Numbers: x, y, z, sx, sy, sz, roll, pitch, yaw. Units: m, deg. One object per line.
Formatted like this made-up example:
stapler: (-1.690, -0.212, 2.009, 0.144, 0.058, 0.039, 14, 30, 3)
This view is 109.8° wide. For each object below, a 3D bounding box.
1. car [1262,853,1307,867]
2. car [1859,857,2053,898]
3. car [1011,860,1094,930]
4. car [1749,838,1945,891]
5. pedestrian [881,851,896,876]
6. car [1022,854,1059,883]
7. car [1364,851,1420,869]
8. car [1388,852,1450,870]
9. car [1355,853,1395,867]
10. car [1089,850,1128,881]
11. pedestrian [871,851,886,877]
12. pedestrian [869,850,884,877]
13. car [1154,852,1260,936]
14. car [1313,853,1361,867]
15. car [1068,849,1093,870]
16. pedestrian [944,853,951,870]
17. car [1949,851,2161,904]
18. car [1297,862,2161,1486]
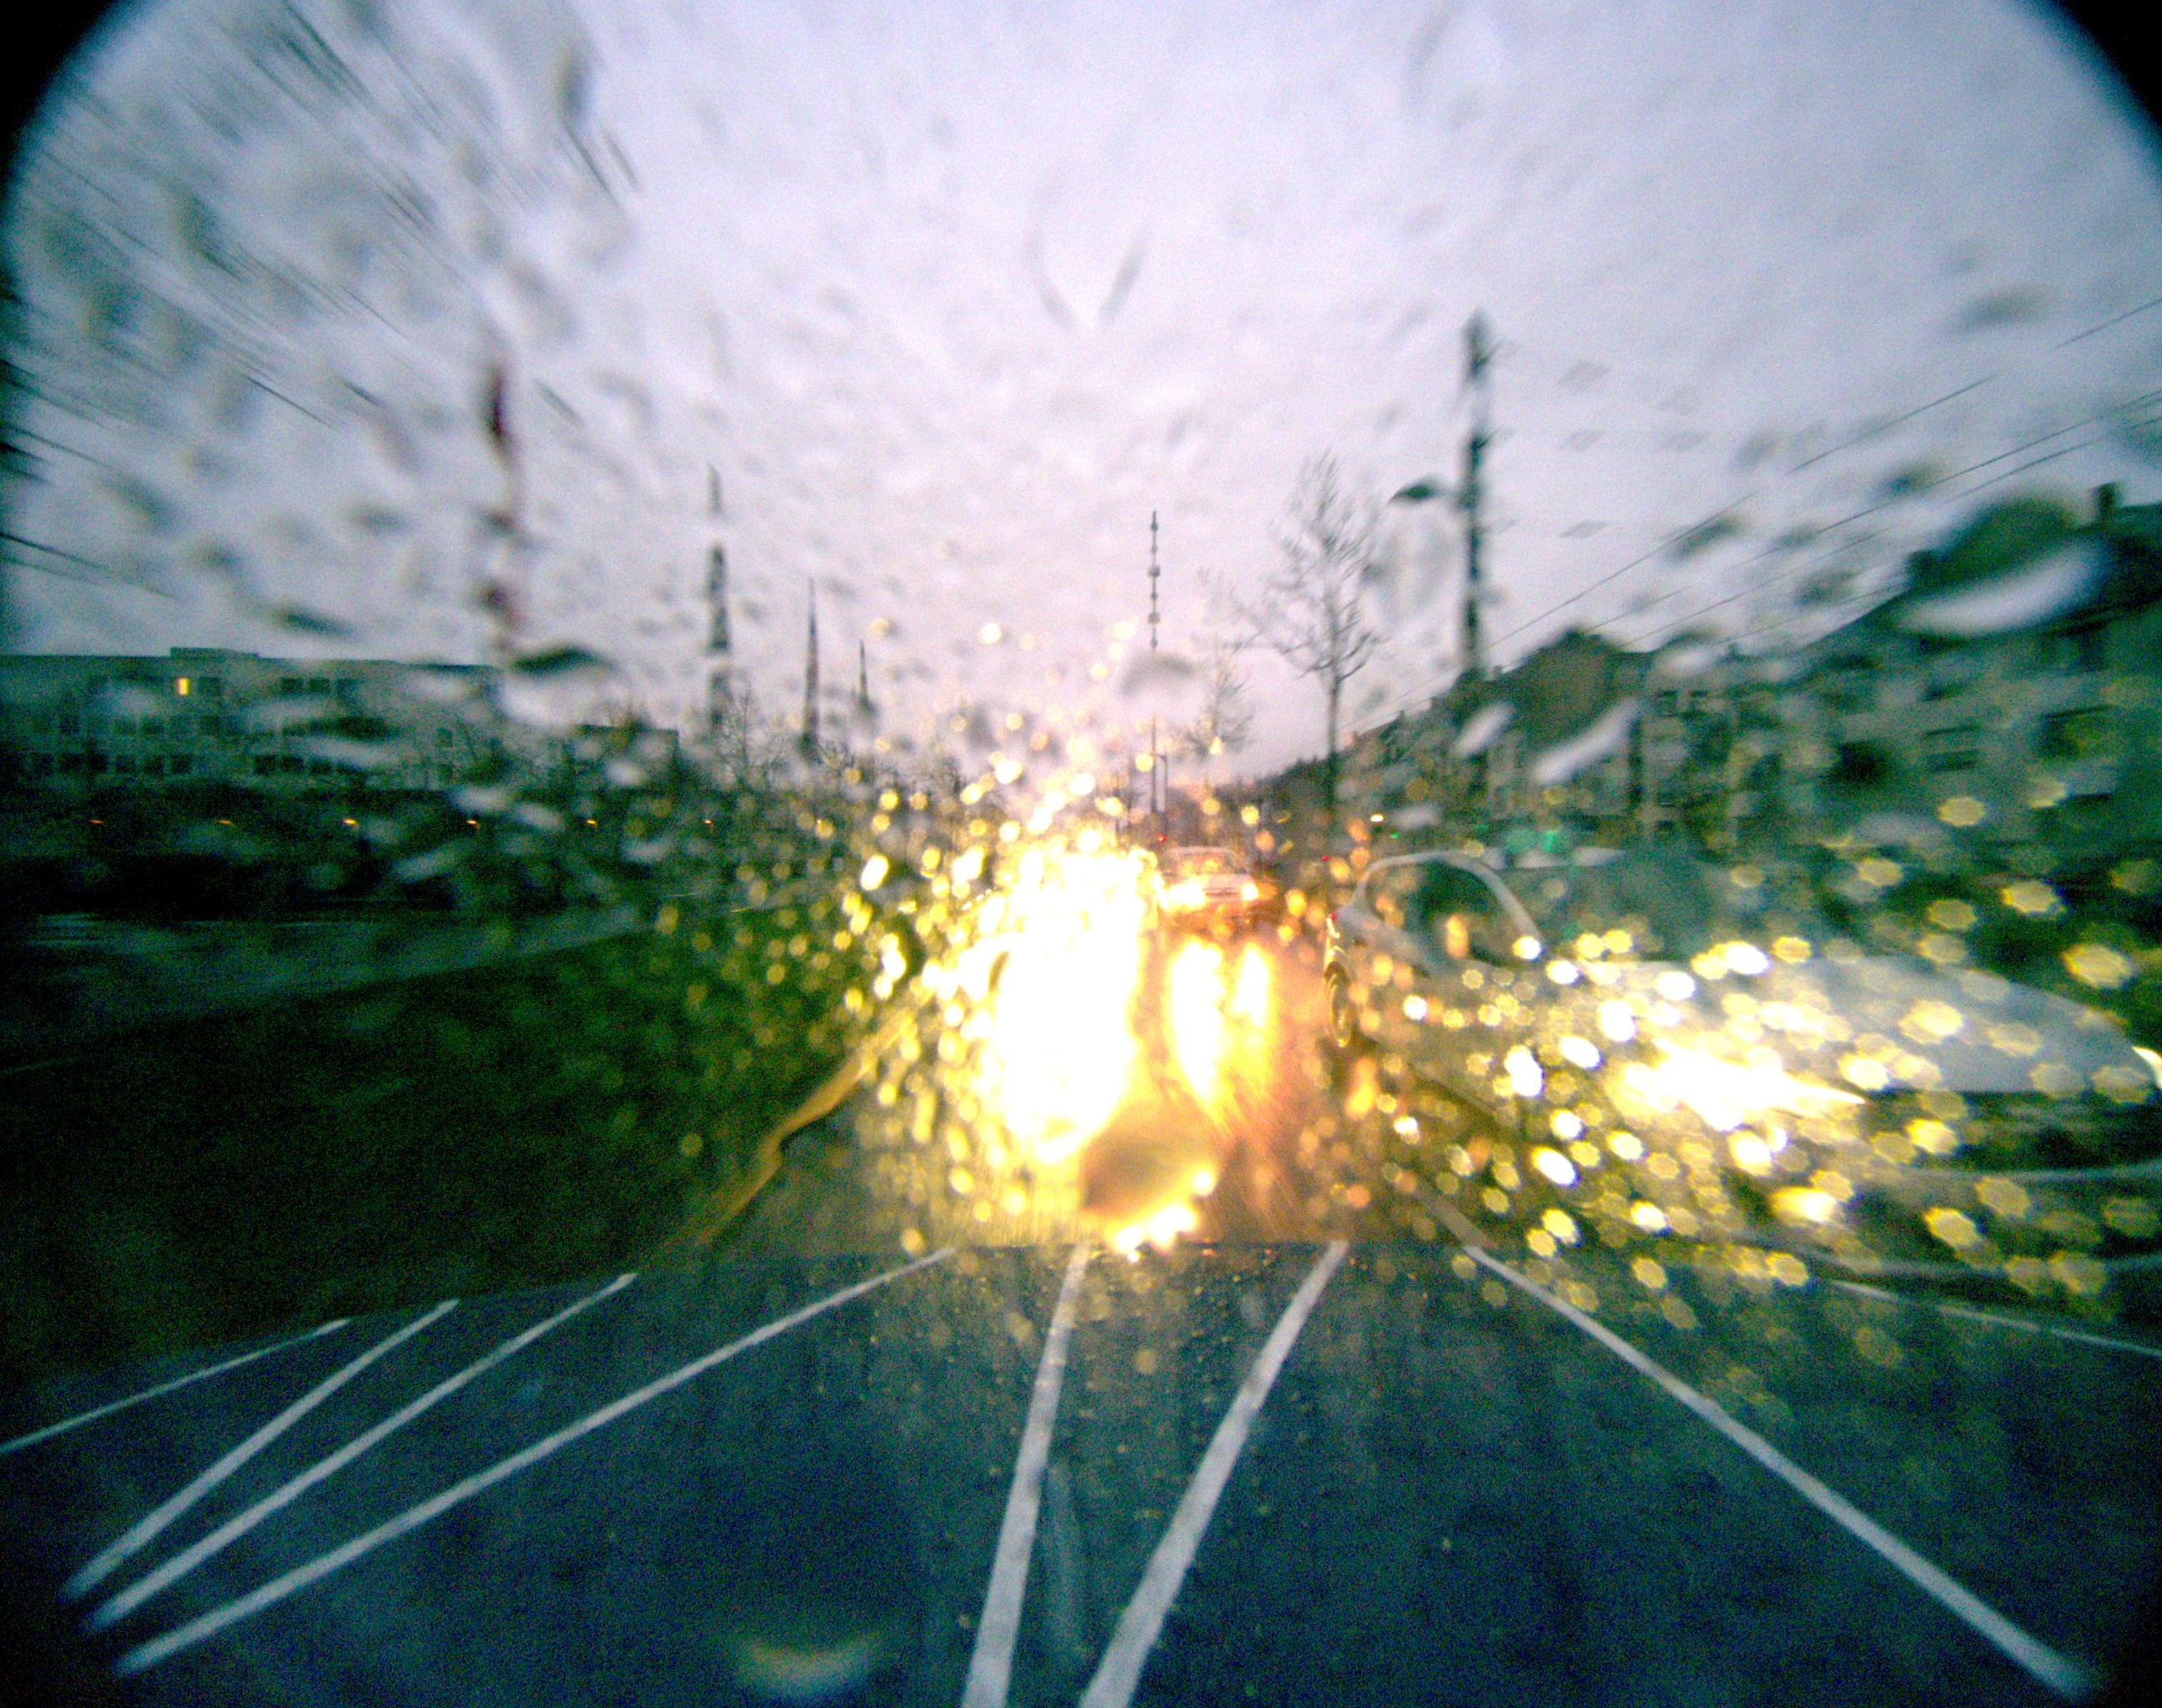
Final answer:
car: (23.582, 0.715, 88.003, 4.651, 1.423, 1.697, -2, 1, 34)
car: (27.022, 0.738, 23.647, 3.562, 1.134, 1.740, -2, 0, 30)
car: (-0.677, 0.864, 17.634, 1.669, 1.325, 3.786, -2, 0, -3)
car: (27.278, 0.379, 27.312, 4.646, 1.713, 1.836, -2, 0, 31)
pedestrian: (-12.660, 0.613, 49.930, 0.674, 1.603, 0.615, -2, 1, 11)
car: (-2.055, 0.710, 38.997, 1.737, 1.311, 3.802, -2, 0, -3)
car: (25.645, 0.475, 62.781, 4.034, 1.223, 1.350, -4, 1, 34)
car: (26.414, 0.545, 59.482, 4.095, 1.154, 1.715, -4, 1, 37)
car: (25.375, 0.509, 65.541, 2.912, 0.984, 1.798, -4, 1, 33)
car: (1.392, 0.553, 39.671, 1.905, 1.475, 3.655, -2, 0, 0)
pedestrian: (-12.837, 0.622, 48.150, 0.673, 1.616, 0.615, -2, 1, 13)
pedestrian: (-13.519, 0.618, 50.203, 0.674, 1.767, 0.615, -2, 1, 11)
car: (2.561, 0.752, 16.247, 1.638, 1.510, 3.907, -2, 0, 1)
car: (26.381, 0.602, 78.373, 4.254, 1.250, 1.837, -2, 1, 38)
car: (-0.072, 0.345, 53.461, 1.538, 1.347, 3.545, -2, 0, -3)
pedestrian: (-13.426, 0.764, 76.238, 0.669, 1.646, 0.993, 0, 1, -8)
car: (27.183, 0.660, 21.163, 3.571, 1.301, 1.689, -2, 0, 30)
car: (2.637, 0.840, 3.965, 1.693, 1.466, 4.000, -2, 0, -2)
